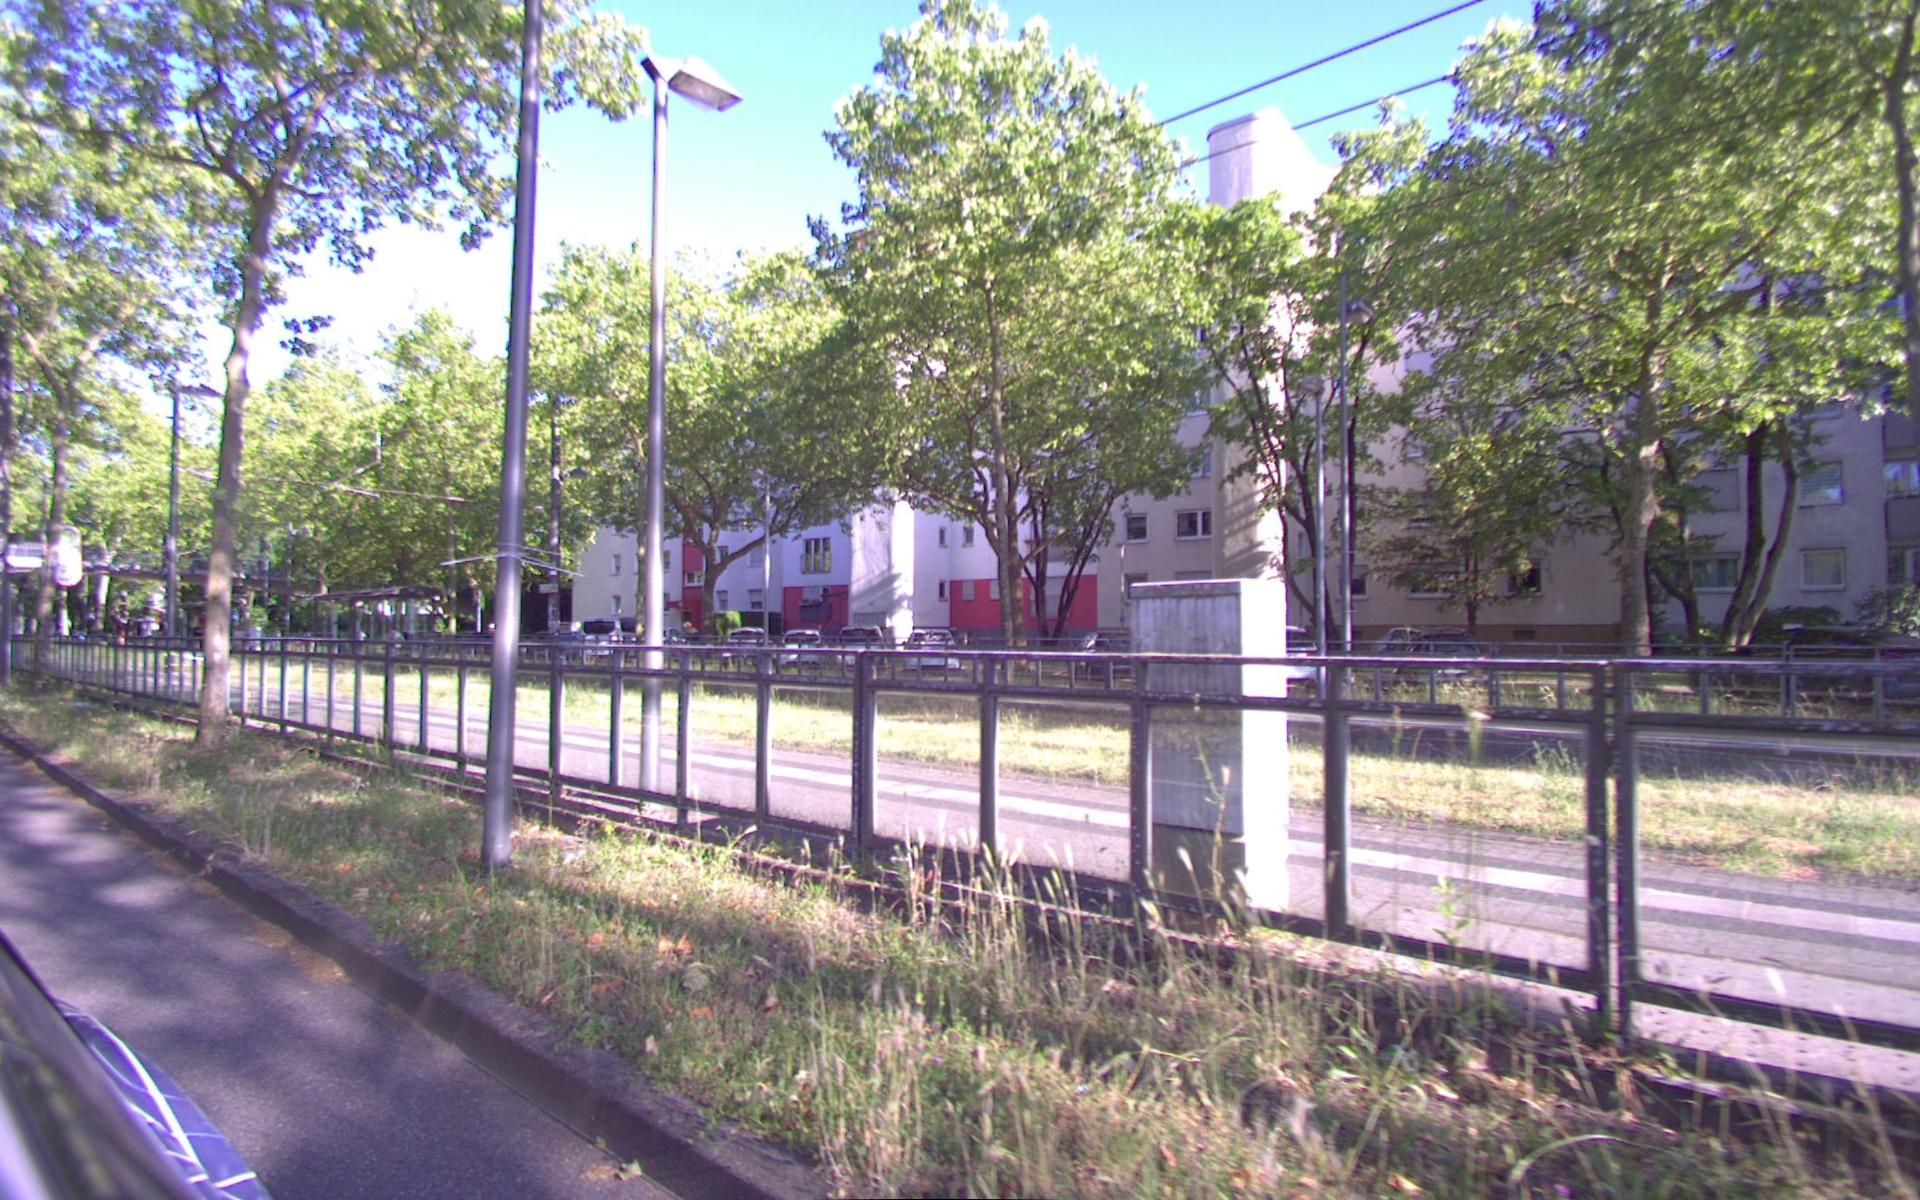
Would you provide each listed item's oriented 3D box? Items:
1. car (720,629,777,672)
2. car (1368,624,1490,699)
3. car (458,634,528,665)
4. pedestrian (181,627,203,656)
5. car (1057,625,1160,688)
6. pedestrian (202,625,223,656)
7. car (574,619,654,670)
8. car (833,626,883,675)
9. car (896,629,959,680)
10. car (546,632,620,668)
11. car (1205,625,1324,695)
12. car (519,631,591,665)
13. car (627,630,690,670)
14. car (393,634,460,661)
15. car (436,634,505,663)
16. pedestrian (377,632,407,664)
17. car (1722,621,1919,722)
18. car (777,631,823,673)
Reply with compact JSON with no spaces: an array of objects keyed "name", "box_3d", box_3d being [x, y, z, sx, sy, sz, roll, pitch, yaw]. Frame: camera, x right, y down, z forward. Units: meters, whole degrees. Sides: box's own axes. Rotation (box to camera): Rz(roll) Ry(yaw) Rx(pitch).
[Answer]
[{"name":"car","box_3d":[-8.114,1.929,39.152,1.870,1.515,4.507,-1,-2,-8]},{"name":"car","box_3d":[10.321,1.313,22.502,1.447,1.520,3.376,-2,-2,7]},{"name":"car","box_3d":[-24.722,2.598,53.766,1.677,1.439,4.197,-2,-1,2]},{"name":"pedestrian","box_3d":[-41.446,2.245,54.613,0.681,1.525,0.638,-1,-4,28]},{"name":"car","box_3d":[3.953,1.487,27.589,1.620,1.556,4.182,-1,-2,-8]},{"name":"pedestrian","box_3d":[-40.558,2.208,54.909,0.714,1.647,0.722,-1,-3,38]},{"name":"car","box_3d":[-15.259,1.928,44.891,1.874,2.079,4.497,-2,-1,2]},{"name":"car","box_3d":[-3.579,1.715,35.107,1.551,1.580,4.067,-1,-2,-8]},{"name":"car","box_3d":[-1.104,1.708,32.356,1.551,1.485,4.067,-1,-2,-8]},{"name":"car","box_3d":[-17.596,2.290,47.404,1.873,1.509,4.501,-2,-1,-1]},{"name":"car","box_3d":[7.408,1.416,25.022,1.623,1.556,3.994,-1,-2,-1]},{"name":"car","box_3d":[-19.941,2.351,50.052,1.873,1.509,4.501,-2,-1,-1]},{"name":"car","box_3d":[-12.870,2.105,43.384,1.664,1.623,4.063,-1,-2,-3]},{"name":"car","box_3d":[-31.716,2.794,60.311,1.677,1.439,4.197,-2,-1,2]},{"name":"car","box_3d":[-26.846,2.647,55.653,1.677,1.439,4.197,-2,-1,2]},{"name":"pedestrian","box_3d":[-20.859,1.745,37.168,0.662,1.136,0.687,-1,-5,42]},{"name":"car","box_3d":[15.170,1.158,17.418,1.442,1.559,3.143,-1,-2,-7]},{"name":"car","box_3d":[-5.853,1.882,37.318,1.551,1.443,4.067,-1,-2,-8]}]
